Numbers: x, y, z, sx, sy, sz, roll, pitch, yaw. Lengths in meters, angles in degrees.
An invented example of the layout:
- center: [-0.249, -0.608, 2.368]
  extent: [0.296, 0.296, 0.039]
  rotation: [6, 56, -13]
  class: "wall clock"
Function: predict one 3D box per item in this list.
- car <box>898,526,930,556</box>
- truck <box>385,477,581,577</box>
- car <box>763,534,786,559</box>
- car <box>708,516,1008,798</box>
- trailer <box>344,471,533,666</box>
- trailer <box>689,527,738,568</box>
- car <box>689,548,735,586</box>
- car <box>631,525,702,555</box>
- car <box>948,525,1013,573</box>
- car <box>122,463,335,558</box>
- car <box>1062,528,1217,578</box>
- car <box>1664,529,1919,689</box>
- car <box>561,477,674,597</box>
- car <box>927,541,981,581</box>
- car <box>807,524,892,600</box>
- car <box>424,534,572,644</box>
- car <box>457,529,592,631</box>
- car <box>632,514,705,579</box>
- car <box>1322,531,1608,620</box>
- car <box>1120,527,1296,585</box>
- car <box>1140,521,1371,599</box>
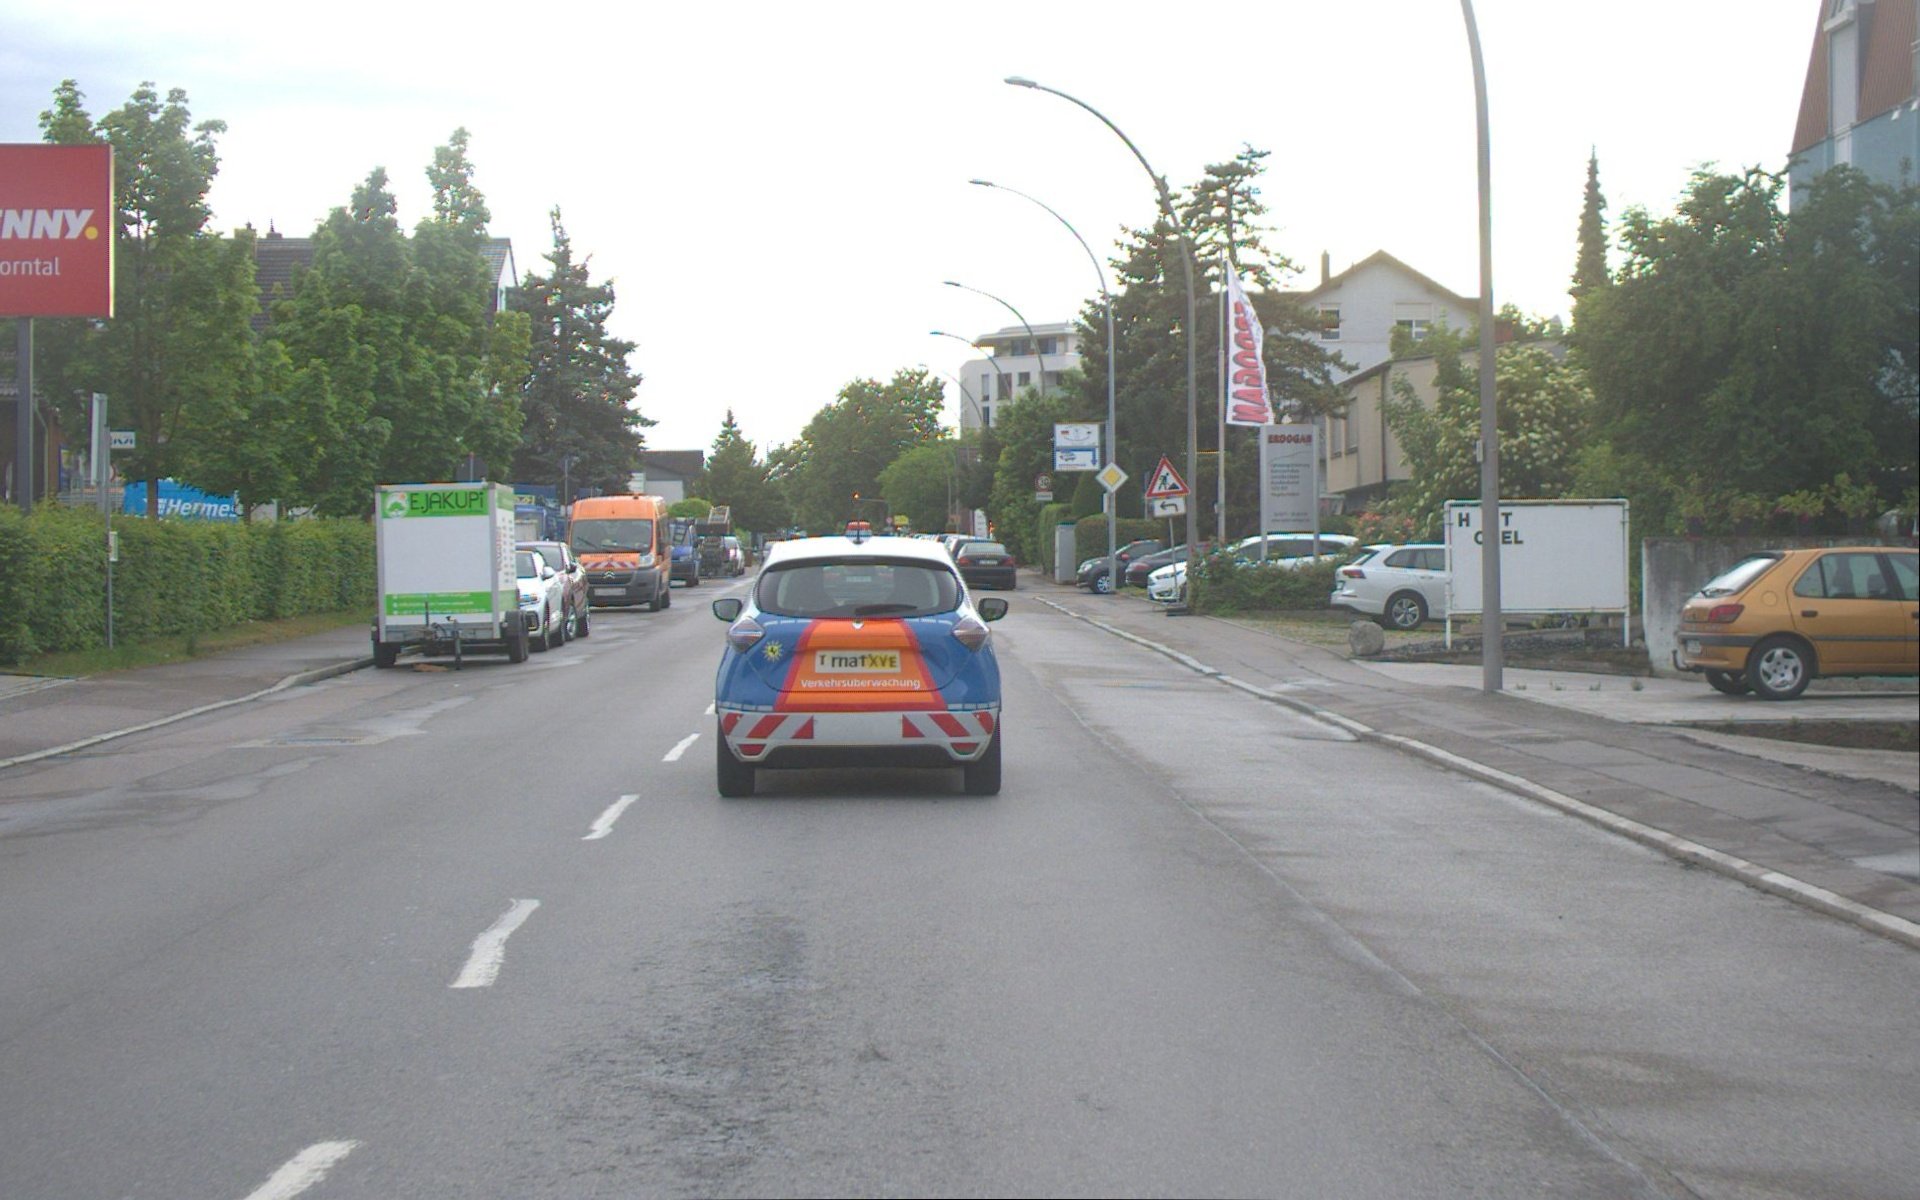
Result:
- center: [-2.675, -3.424, 200.374]
  extent: [1.650, 1.666, 4.001]
  rotation: [1, 1, -3]
  class: "car"
- center: [-15.227, -2.323, 110.112]
  extent: [5.911, 3.063, 2.450]
  rotation: [1, 1, -1]
  class: "truck"
- center: [-11.388, -3.290, 210.940]
  extent: [1.386, 1.478, 3.784]
  rotation: [0, 1, -3]
  class: "car"
- center: [-0.663, 0.304, 21.653]
  extent: [1.731, 1.625, 3.495]
  rotation: [0, 1, -2]
  class: "car"
- center: [-6.682, -0.439, 44.507]
  extent: [1.812, 2.306, 4.731]
  rotation: [-2, 1, -2]
  class: "trailer"
- center: [-8.939, -1.921, 124.934]
  extent: [1.717, 1.256, 5.246]
  rotation: [1, 3, -4]
  class: "trailer"
- center: [-9.559, -1.270, 132.532]
  extent: [1.557, 1.428, 4.000]
  rotation: [1, 1, -2]
  class: "car"
- center: [-15.854, -3.226, 185.528]
  extent: [3.759, 1.571, 1.656]
  rotation: [1, 1, -6]
  class: "car"
- center: [0.558, -1.460, 97.894]
  extent: [1.589, 1.336, 4.093]
  rotation: [1, 1, -3]
  class: "car"
- center: [-16.294, -1.973, 76.698]
  extent: [4.306, 2.007, 2.063]
  rotation: [1, 1, -1]
  class: "car"
- center: [4.827, -1.269, 92.836]
  extent: [3.986, 1.262, 1.951]
  rotation: [1, 1, -3]
  class: "car"
- center: [8.670, 0.070, 31.654]
  extent: [3.986, 1.425, 1.631]
  rotation: [0, 1, -3]
  class: "car"
- center: [-7.485, -1.409, 75.693]
  extent: [2.124, 2.529, 6.023]
  rotation: [0, 1, -2]
  class: "car"
- center: [-0.241, -1.479, 130.082]
  extent: [1.711, 1.433, 4.527]
  rotation: [1, 1, -4]
  class: "car"
- center: [-2.343, -0.802, 72.272]
  extent: [1.650, 1.516, 4.001]
  rotation: [1, 1, -3]
  class: "car"
- center: [-6.748, -0.191, 50.555]
  extent: [1.772, 1.493, 4.137]
  rotation: [0, 2, -2]
  class: "car"
- center: [-7.068, -0.362, 56.144]
  extent: [1.805, 1.568, 4.343]
  rotation: [-1, 1, -2]
  class: "car"
- center: [-9.082, -1.672, 107.378]
  extent: [1.993, 1.940, 5.366]
  rotation: [1, 1, -2]
  class: "car"
- center: [8.396, -0.410, 57.375]
  extent: [4.415, 1.388, 1.880]
  rotation: [1, 1, -2]
  class: "car"
- center: [5.830, -1.039, 81.179]
  extent: [3.987, 1.262, 1.951]
  rotation: [1, 1, 0]
  class: "car"
- center: [5.811, -0.798, 67.986]
  extent: [4.337, 1.470, 1.903]
  rotation: [1, 1, -2]
  class: "car"
